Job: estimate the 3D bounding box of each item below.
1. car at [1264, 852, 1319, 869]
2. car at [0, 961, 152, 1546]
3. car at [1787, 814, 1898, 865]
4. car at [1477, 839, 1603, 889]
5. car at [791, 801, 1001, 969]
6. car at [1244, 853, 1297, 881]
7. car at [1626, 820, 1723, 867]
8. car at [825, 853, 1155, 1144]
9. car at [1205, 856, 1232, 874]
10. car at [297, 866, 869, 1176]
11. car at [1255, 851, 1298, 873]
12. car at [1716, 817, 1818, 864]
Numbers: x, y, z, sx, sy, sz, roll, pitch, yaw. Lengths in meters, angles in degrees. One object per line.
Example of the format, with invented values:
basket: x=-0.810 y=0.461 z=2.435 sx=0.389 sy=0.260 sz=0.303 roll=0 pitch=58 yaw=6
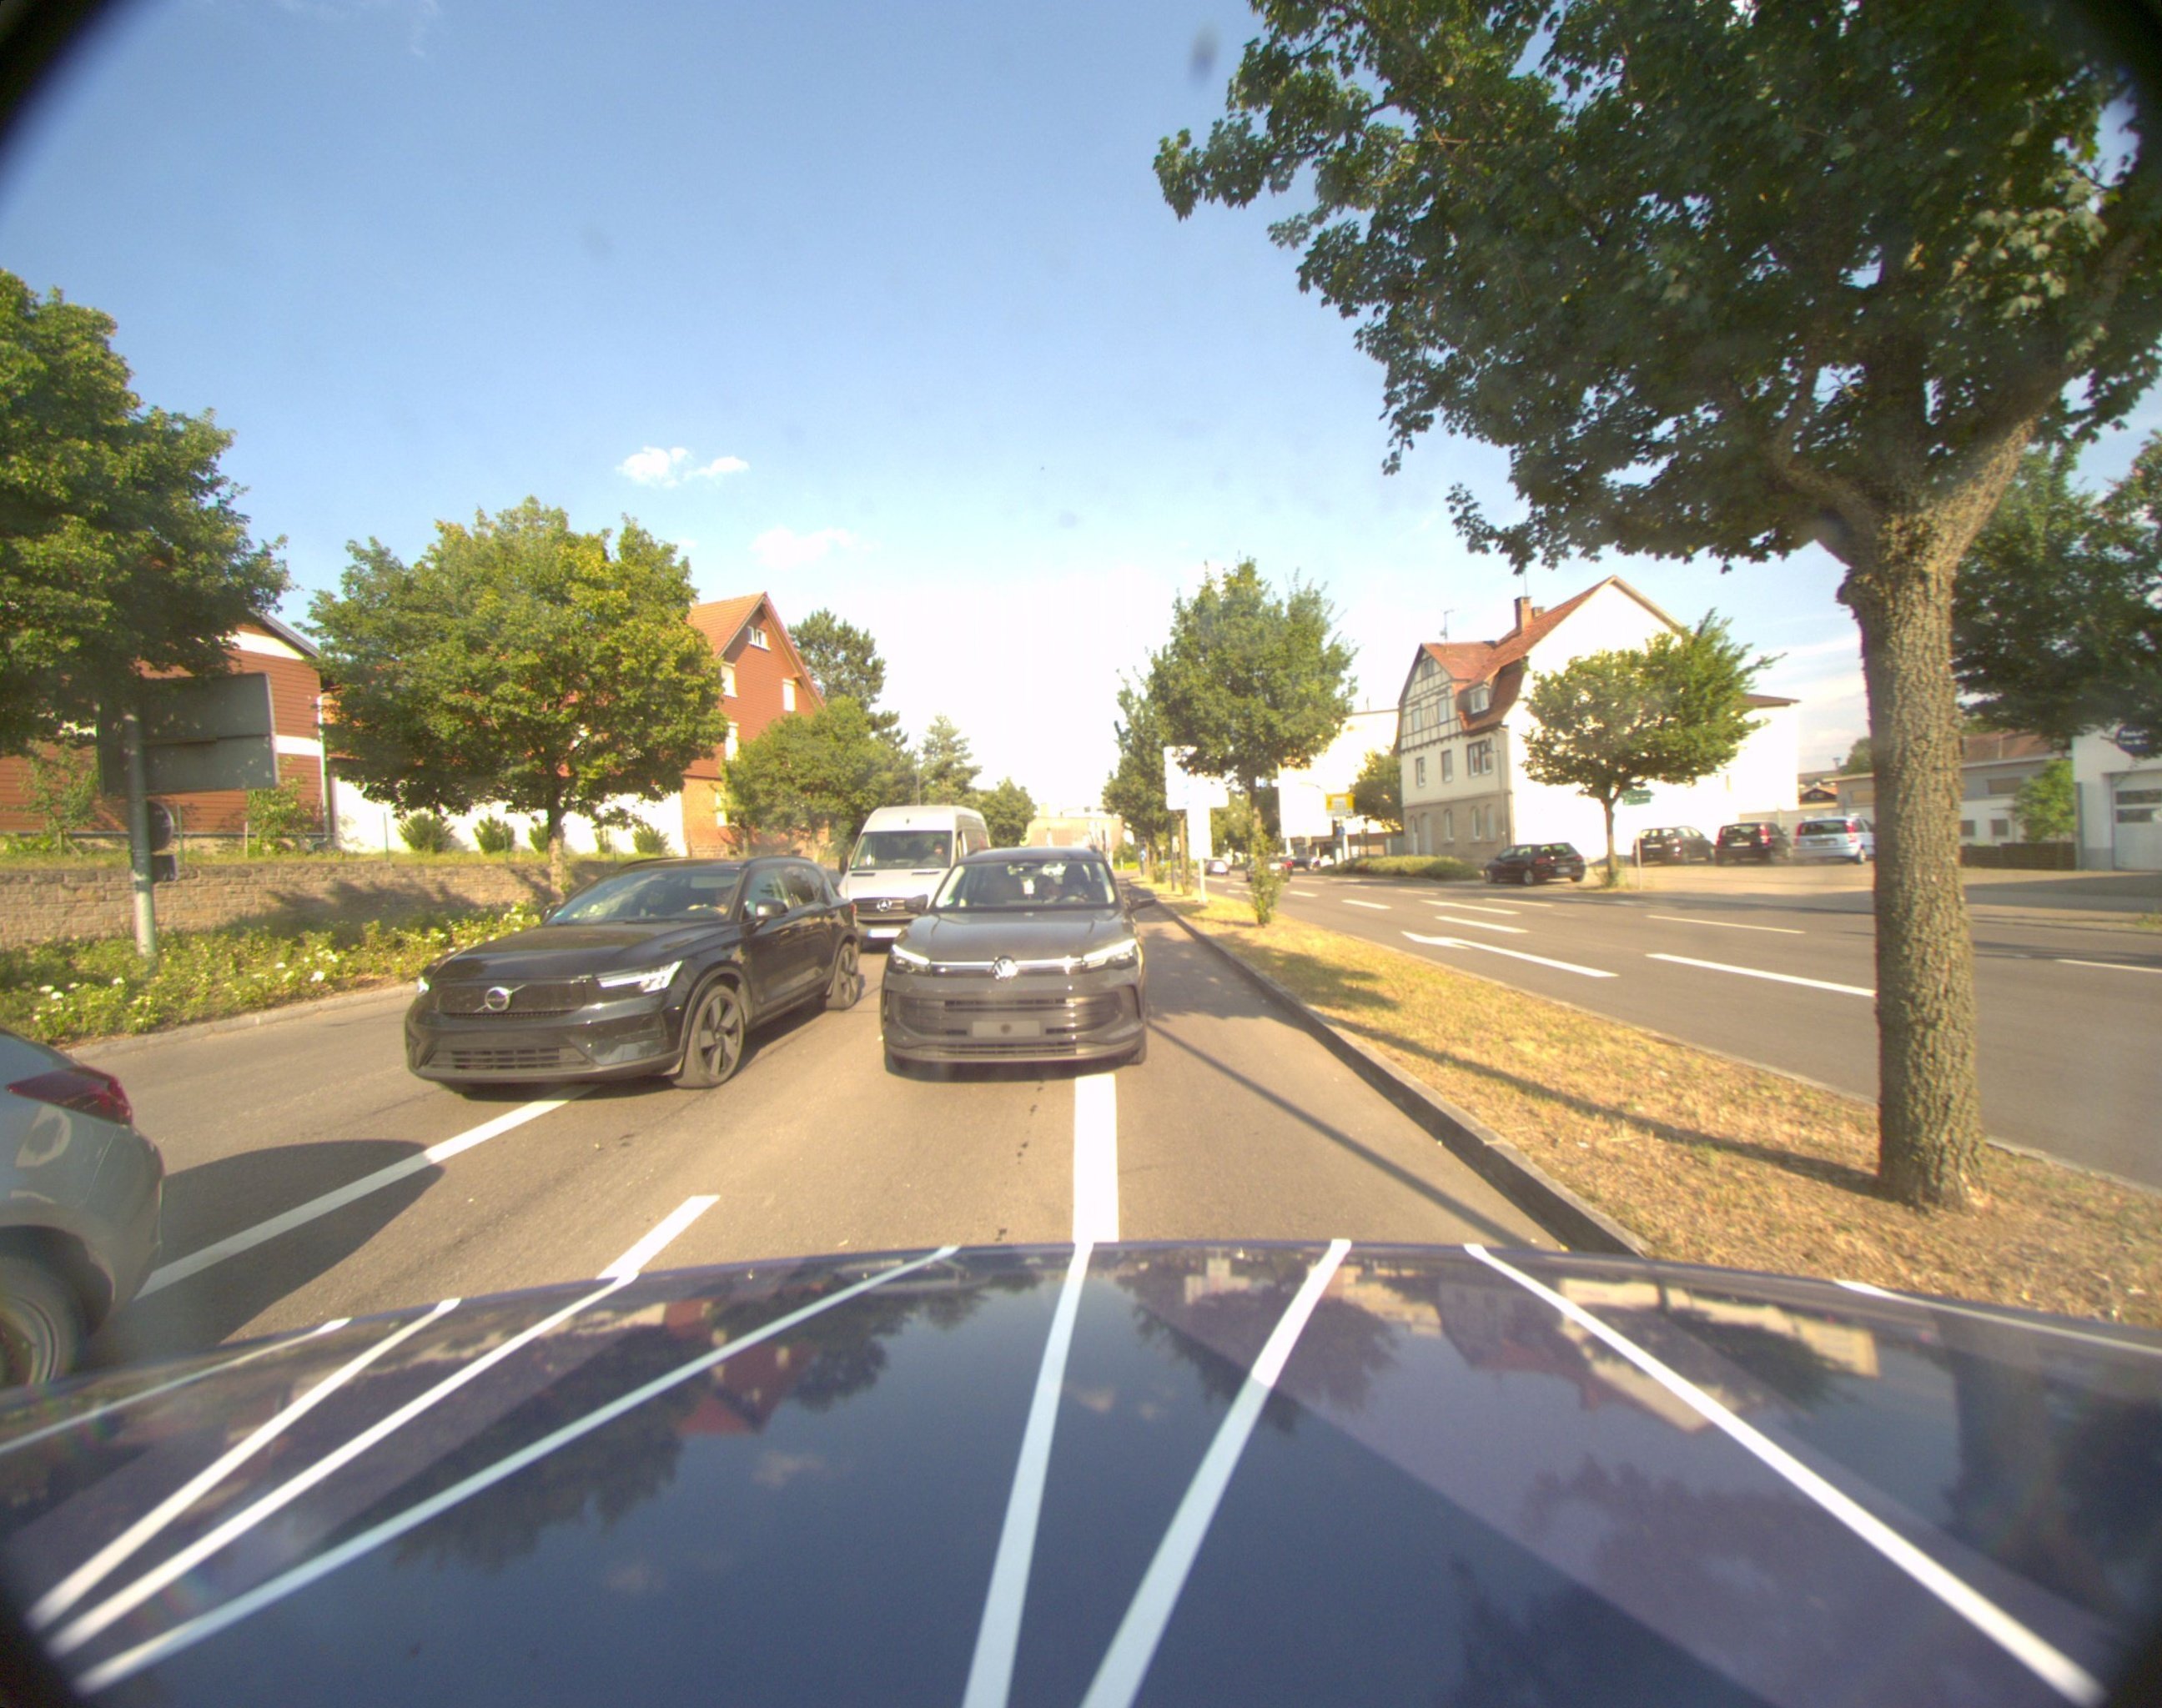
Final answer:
car: x=19.168 y=0.616 z=69.313 sx=4.660 sy=1.346 sz=1.768 roll=-2 pitch=1 yaw=9
car: x=-3.631 y=1.069 z=0.134 sx=1.748 sy=1.433 sz=4.166 roll=-2 pitch=0 yaw=0
car: x=24.965 y=-0.486 z=24.876 sx=4.006 sy=1.543 sz=1.763 roll=-2 pitch=1 yaw=-33
car: x=15.994 y=0.311 z=26.786 sx=1.839 sy=1.435 sz=4.195 roll=-5 pitch=0 yaw=1
car: x=-3.211 y=0.467 z=14.935 sx=2.370 sy=2.532 sz=6.192 roll=-2 pitch=0 yaw=2
car: x=10.095 y=0.662 z=40.756 sx=1.649 sy=1.378 sz=4.189 roll=-2 pitch=0 yaw=-1
car: x=23.375 y=-0.420 z=29.887 sx=4.006 sy=1.543 sz=1.764 roll=-4 pitch=1 yaw=-33
car: x=-0.482 y=0.854 z=6.857 sx=1.894 sy=1.647 sz=4.730 roll=-2 pitch=0 yaw=1
car: x=11.018 y=0.853 z=61.033 sx=1.784 sy=1.341 sz=4.480 roll=-2 pitch=0 yaw=7
car: x=-3.366 y=0.972 z=6.310 sx=1.886 sy=1.599 sz=4.128 roll=-2 pitch=0 yaw=2
car: x=13.795 y=0.552 z=53.922 sx=1.848 sy=1.413 sz=4.644 roll=-2 pitch=0 yaw=1
car: x=24.891 y=-0.487 z=27.550 sx=4.006 sy=1.543 sz=1.763 roll=-2 pitch=1 yaw=-33
